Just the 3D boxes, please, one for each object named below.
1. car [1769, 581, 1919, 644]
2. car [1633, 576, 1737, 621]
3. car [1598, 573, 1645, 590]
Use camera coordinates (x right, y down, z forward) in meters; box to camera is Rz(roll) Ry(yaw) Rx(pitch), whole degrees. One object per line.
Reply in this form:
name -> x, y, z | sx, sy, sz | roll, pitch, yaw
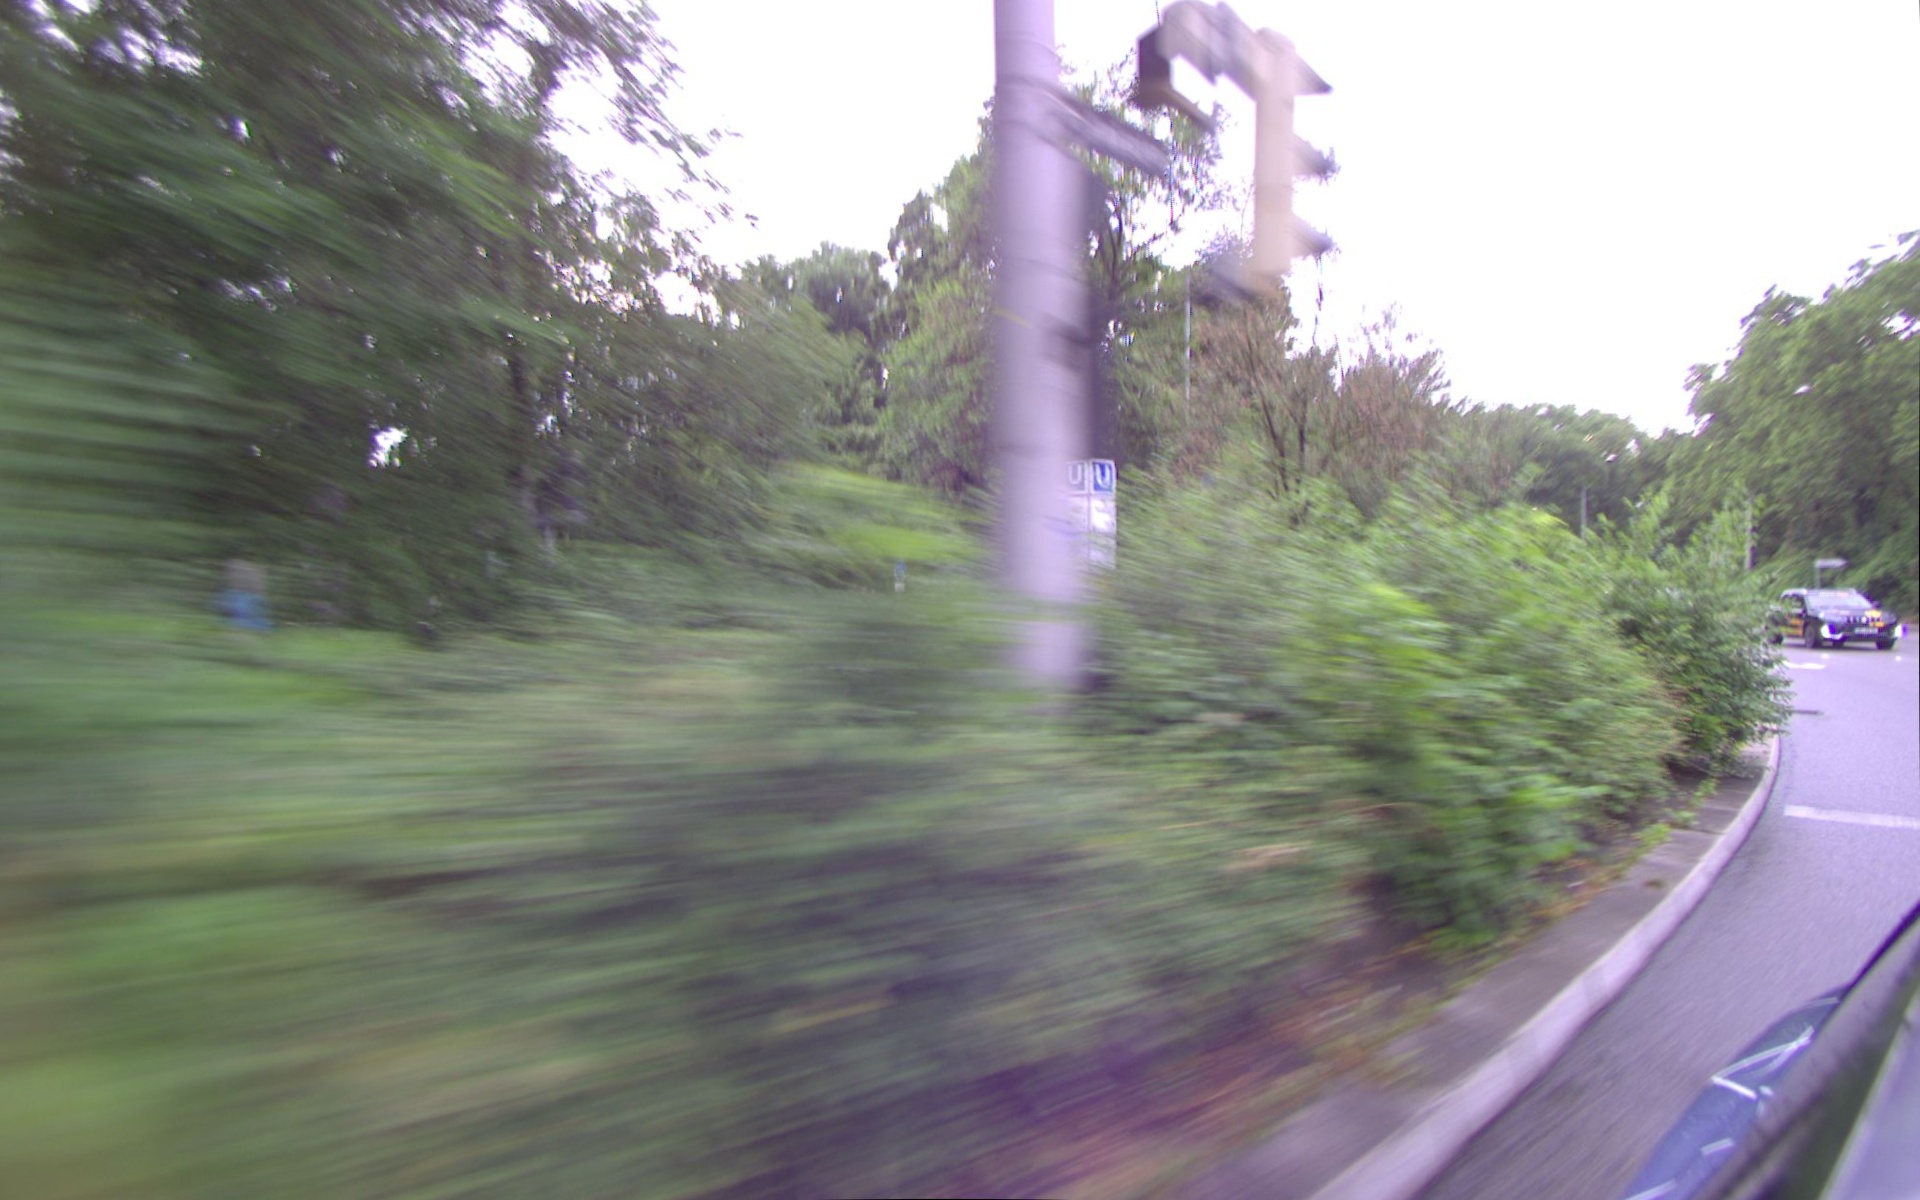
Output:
car -> 24.047, 0.290, 27.643 | 1.908, 1.560, 3.973 | -1, 1, 21
car -> 31.309, -0.126, 43.865 | 1.969, 1.766, 4.639 | 0, 2, 13
car -> 65.050, -1.797, 99.531 | 4.416, 1.561, 2.216 | -2, 2, -32
